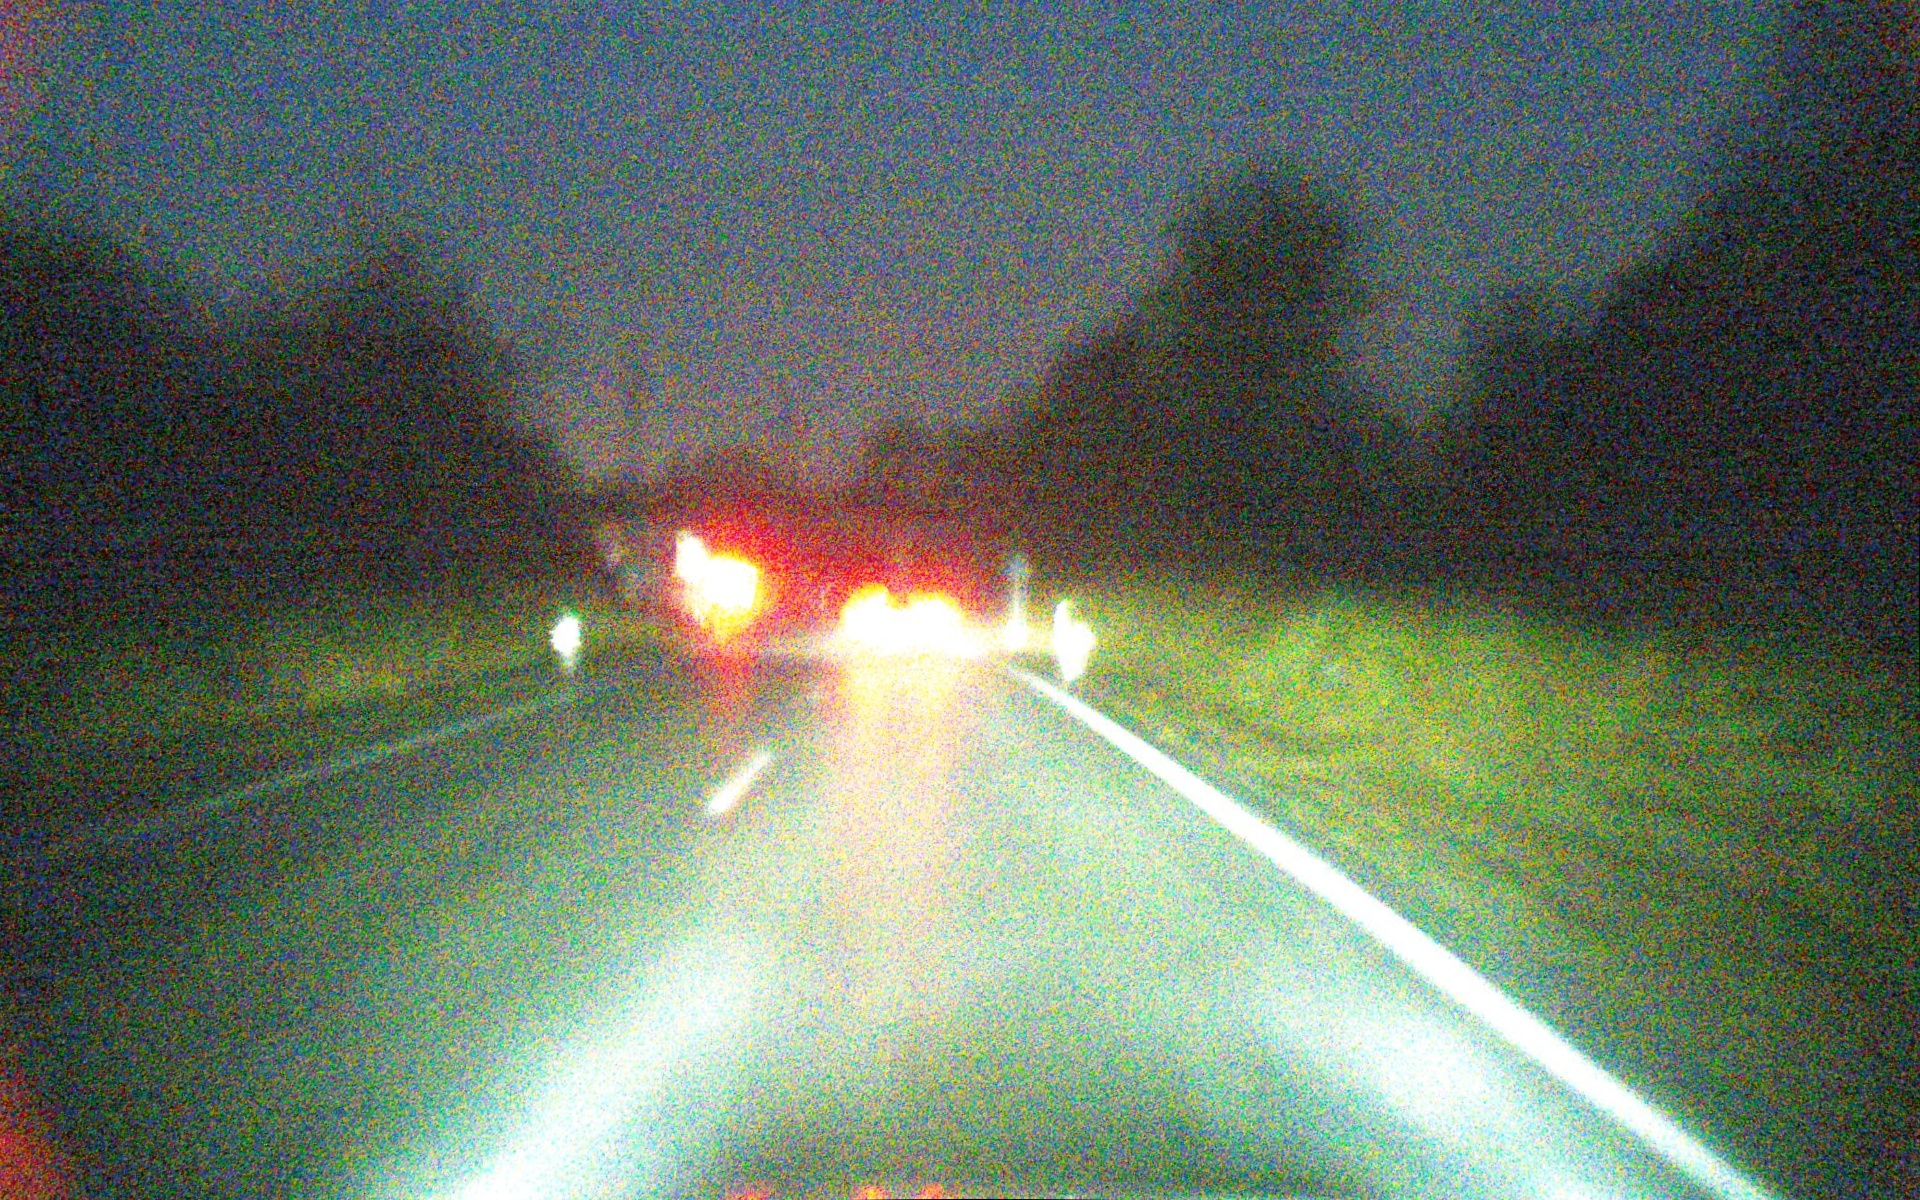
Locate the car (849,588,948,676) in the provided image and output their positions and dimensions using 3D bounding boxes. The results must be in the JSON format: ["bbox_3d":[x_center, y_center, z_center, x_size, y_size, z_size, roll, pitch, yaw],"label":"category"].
[{"bbox_3d":[-1.340,0.614,35.196,1.954,1.656,4.982,1,1,-3],"label":"car"}]
